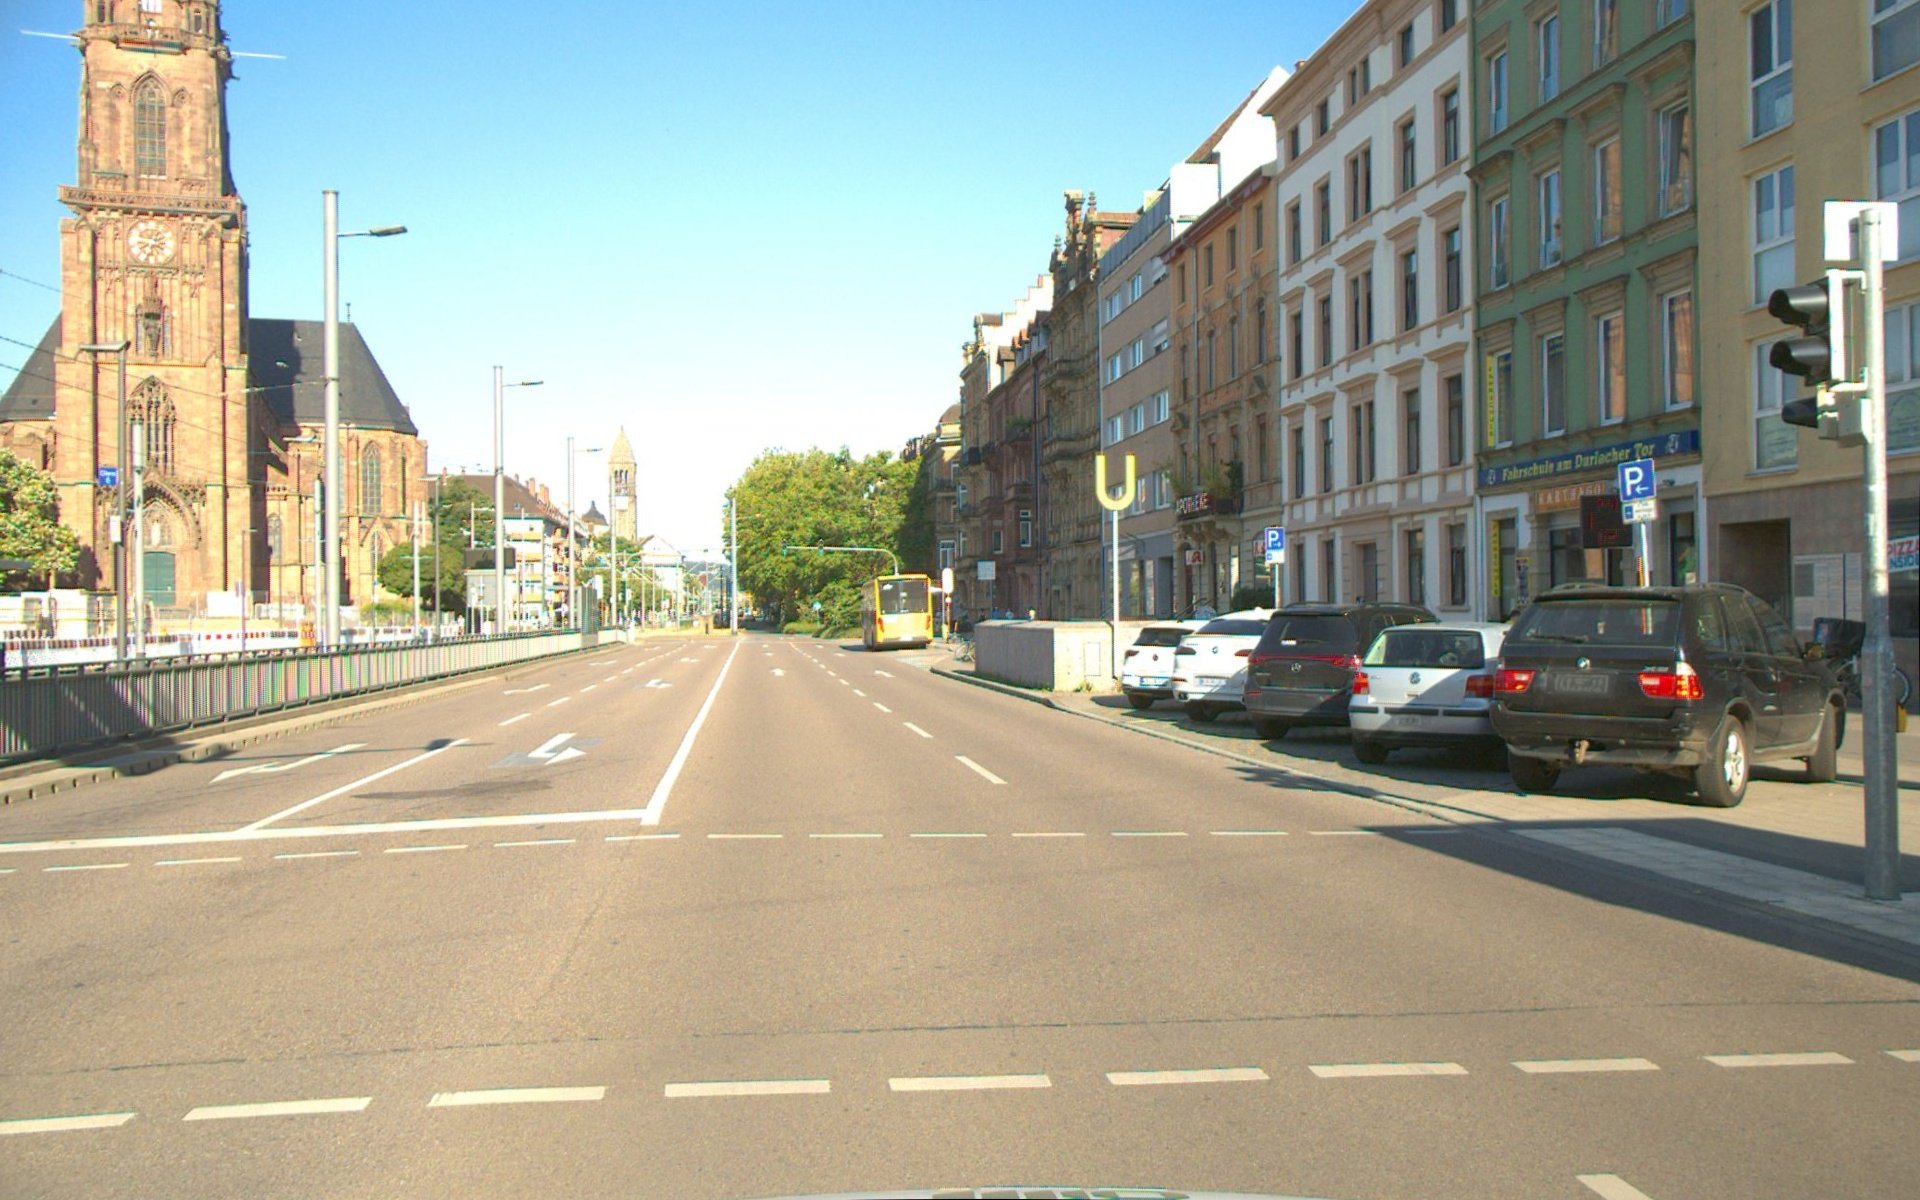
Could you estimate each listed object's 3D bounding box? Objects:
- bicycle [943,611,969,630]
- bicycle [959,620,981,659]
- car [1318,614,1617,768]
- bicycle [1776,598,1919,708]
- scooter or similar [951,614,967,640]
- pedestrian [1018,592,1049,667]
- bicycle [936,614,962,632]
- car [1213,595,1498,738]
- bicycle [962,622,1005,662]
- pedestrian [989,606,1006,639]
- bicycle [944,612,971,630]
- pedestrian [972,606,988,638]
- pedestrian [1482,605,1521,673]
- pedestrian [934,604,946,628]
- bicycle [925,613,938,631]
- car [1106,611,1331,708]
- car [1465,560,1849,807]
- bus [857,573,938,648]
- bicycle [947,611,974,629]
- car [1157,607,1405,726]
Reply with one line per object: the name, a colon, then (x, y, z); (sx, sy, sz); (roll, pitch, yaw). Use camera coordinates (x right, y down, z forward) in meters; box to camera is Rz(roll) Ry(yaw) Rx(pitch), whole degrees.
bicycle: (-0.289, 1.515, 122.177); (1.855, 1.260, 0.487); (-2, -2, -20)
bicycle: (0.315, 1.242, 52.635); (0.460, 1.167, 1.768); (0, 0, -7)
car: (5.464, 0.901, 17.524); (1.754, 1.424, 3.874); (0, -1, 38)
bicycle: (12.733, 0.724, 23.659); (0.911, 1.380, 2.228); (-2, 2, -4)
scooter or similar: (-0.056, 1.337, 83.107); (0.424, 1.271, 1.289); (-2, -1, -16)
pedestrian: (2.057, 0.811, 46.359); (0.736, 2.048, 0.697); (-2, 2, -7)
bicycle: (-0.795, 1.679, 123.136); (1.855, 1.260, 0.487); (-2, -2, -20)
car: (5.129, 0.779, 21.076); (1.923, 1.626, 4.230); (0, -1, 39)
bicycle: (0.700, 1.253, 49.962); (0.464, 1.167, 1.753); (0, 0, -30)
pedestrian: (2.295, 1.389, 101.301); (0.806, 1.964, 1.135); (-1, -1, -8)
bicycle: (-0.183, 1.539, 121.599); (1.855, 1.260, 0.487); (-2, -2, -20)
pedestrian: (1.206, 1.368, 102.407); (0.806, 1.964, 1.135); (-1, -1, -8)
pedestrian: (10.977, 0.788, 33.534); (0.506, 1.342, 0.589); (-1, -1, -15)
pedestrian: (-1.399, 1.116, 117.105); (0.689, 1.685, 1.135); (-1, -1, -8)
bicycle: (-2.132, 1.650, 124.651); (0.481, 1.260, 1.880); (-2, -2, -16)
car: (4.464, 0.956, 28.187); (1.926, 1.489, 4.090); (-1, -1, 41)
car: (6.269, 0.644, 14.610); (1.925, 1.846, 4.227); (0, -1, 41)
bus: (-3.136, 0.496, 78.907); (2.664, 3.237, 12.520); (-2, 0, -7)
bicycle: (0.057, 1.475, 120.469); (1.855, 1.260, 0.487); (-2, -2, -20)
car: (4.845, 0.916, 24.548); (1.923, 1.598, 4.231); (0, -1, 38)
